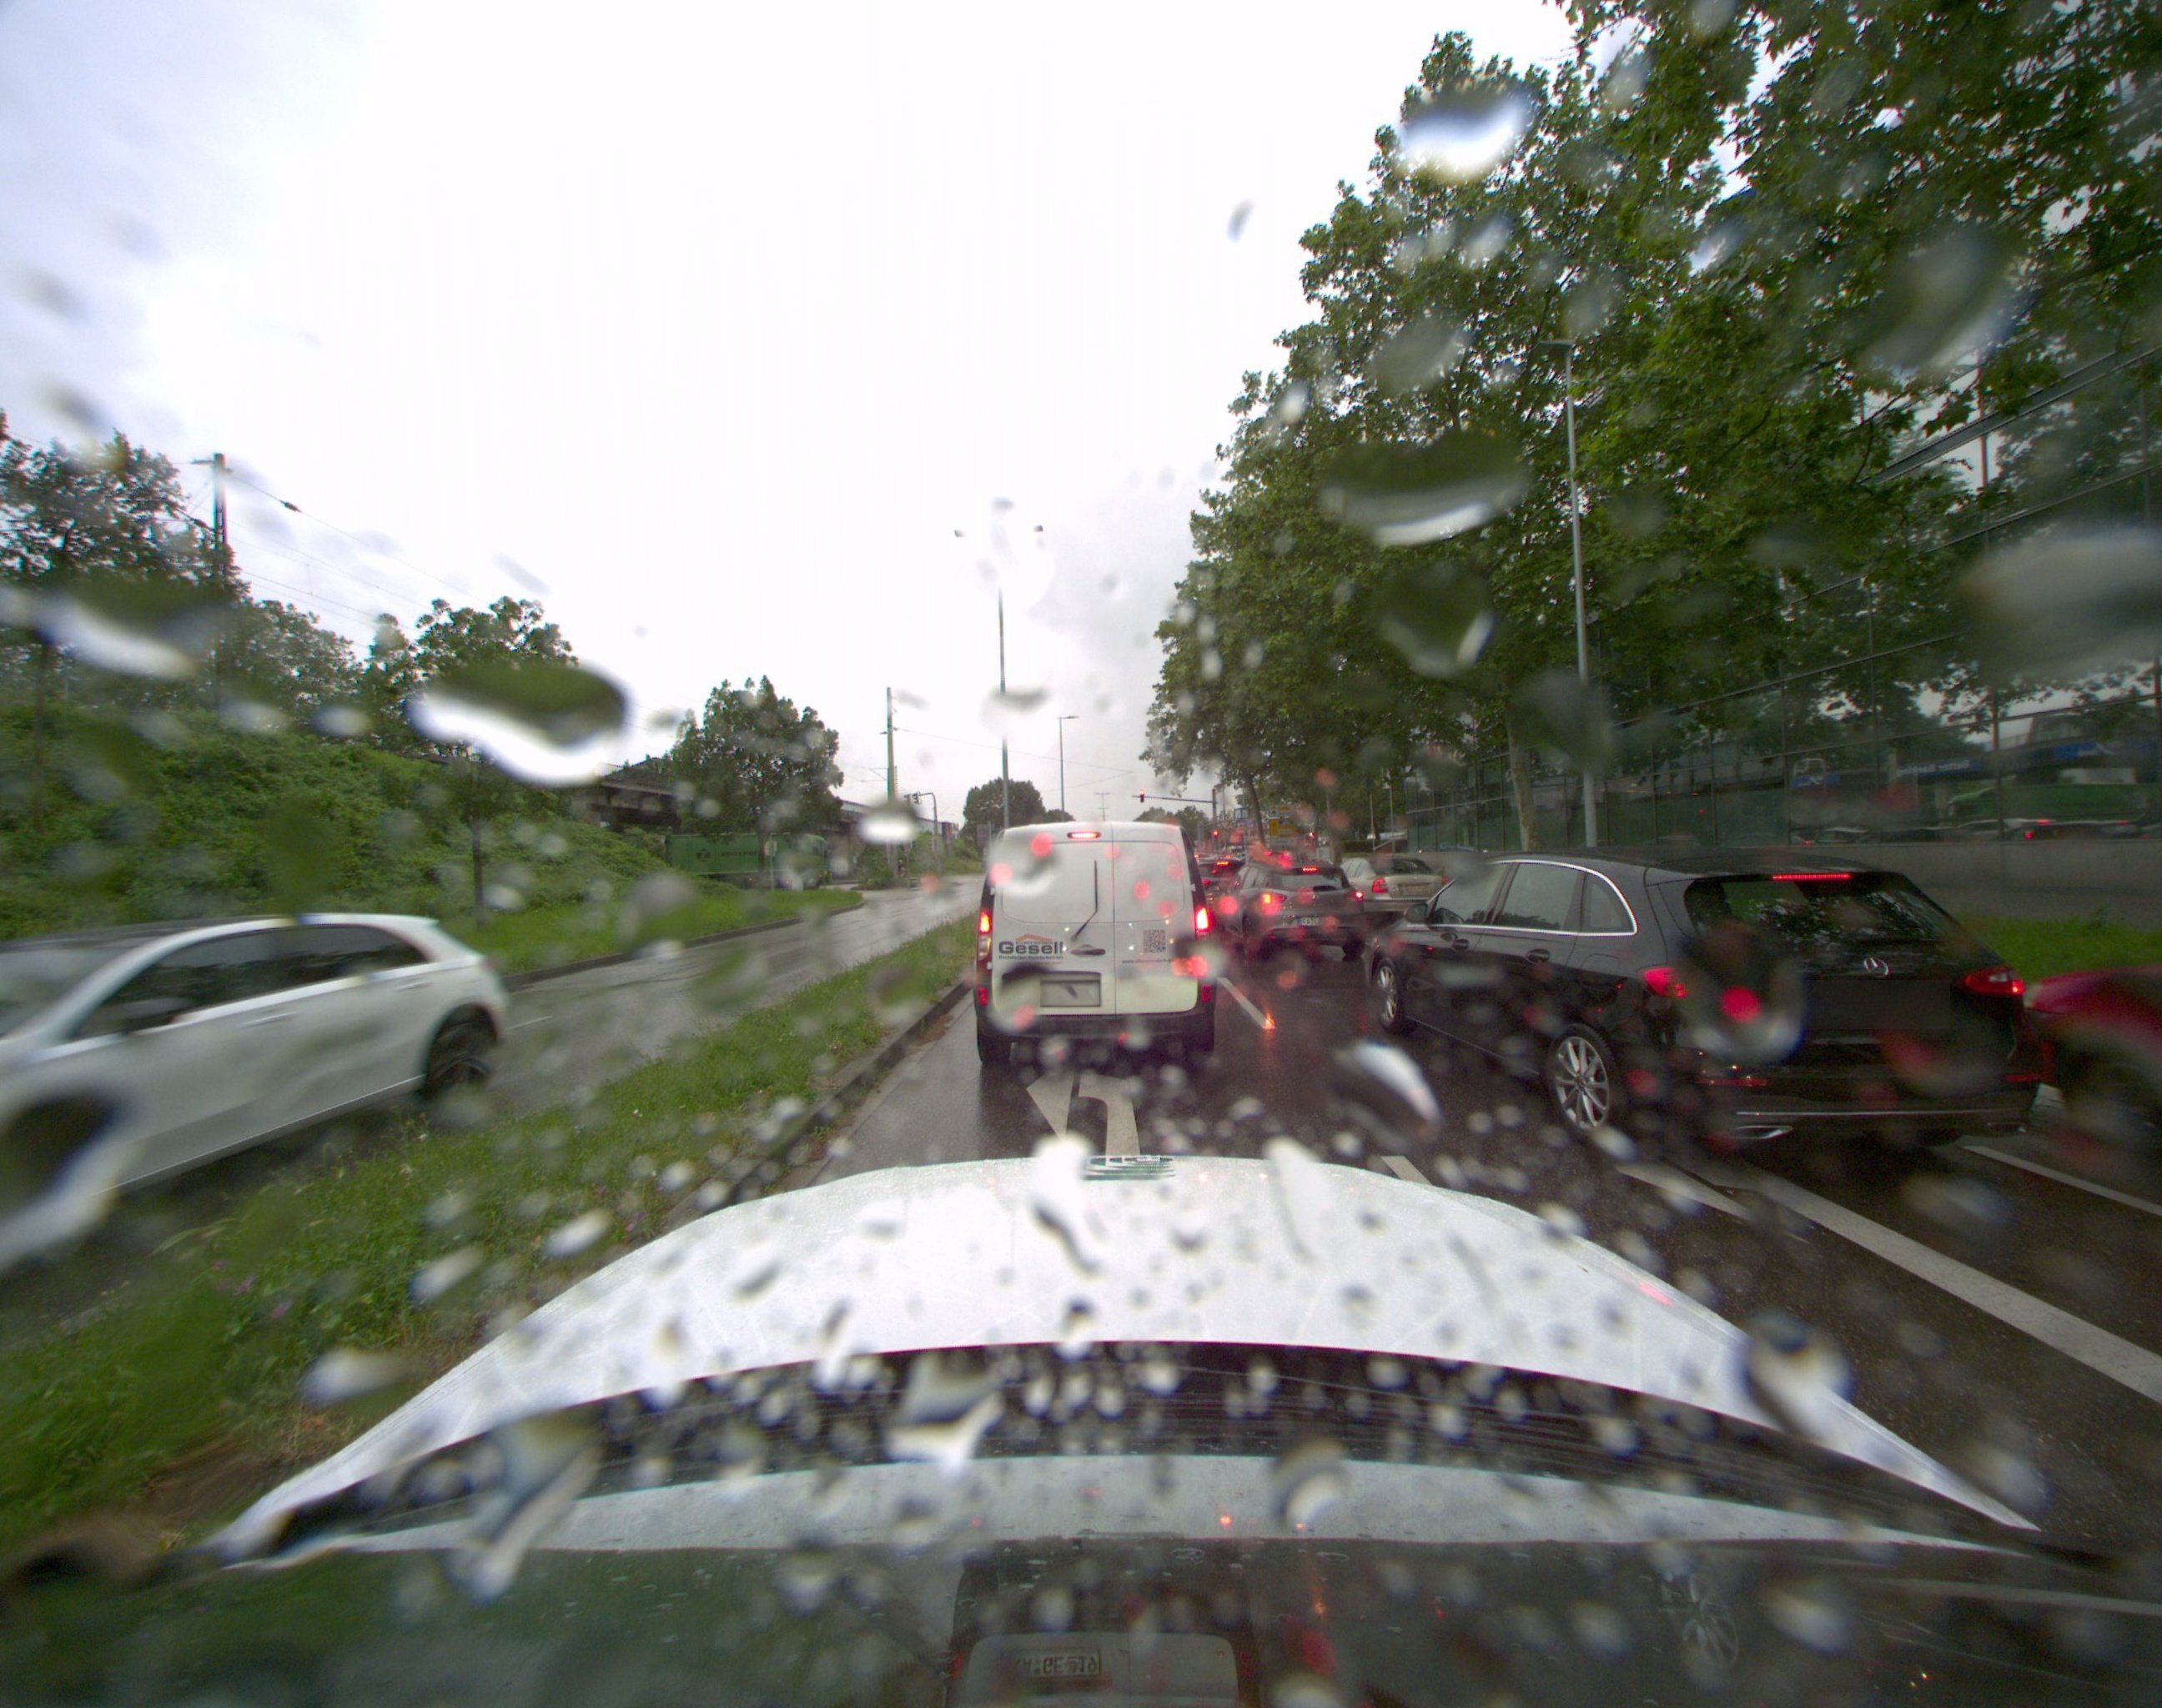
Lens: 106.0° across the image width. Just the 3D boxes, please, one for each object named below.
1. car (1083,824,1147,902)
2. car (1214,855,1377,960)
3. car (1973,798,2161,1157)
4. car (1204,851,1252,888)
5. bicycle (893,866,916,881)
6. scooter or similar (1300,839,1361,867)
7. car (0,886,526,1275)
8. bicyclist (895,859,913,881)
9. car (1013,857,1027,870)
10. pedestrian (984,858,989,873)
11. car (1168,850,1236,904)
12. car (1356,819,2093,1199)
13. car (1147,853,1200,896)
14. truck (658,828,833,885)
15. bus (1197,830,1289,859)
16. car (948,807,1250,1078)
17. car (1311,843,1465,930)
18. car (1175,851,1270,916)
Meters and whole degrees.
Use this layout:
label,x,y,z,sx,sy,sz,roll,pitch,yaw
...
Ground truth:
label,x,y,z,sx,sy,sz,roll,pitch,yaw
car,1.087,0.268,26.457,1.847,2.296,3.844,-1,0,2
car,3.263,0.738,13.122,1.677,1.408,3.844,0,0,1
car,5.909,0.557,2.503,1.704,1.694,4.273,0,-1,1
car,6.906,0.713,38.609,1.702,1.650,3.844,-1,-1,2
bicycle,-12.153,1.332,56.009,1.045,0.952,2.866,-2,0,-22
scooter or similar,23.454,-0.074,76.680,1.905,2.446,5.257,-1,0,-39
car,-5.323,1.049,4.390,1.728,1.519,4.048,-4,-1,1
bicyclist,-12.145,1.084,55.990,1.045,1.450,0.723,-2,0,-23
car,-7.961,1.187,106.762,1.463,1.559,3.508,-2,0,1
pedestrian,-11.236,1.368,96.609,0.541,1.716,0.563,0,-1,-2
car,4.060,0.729,27.897,1.847,1.649,3.844,-1,0,2
car,3.374,0.648,5.446,1.741,1.554,4.091,-1,0,1
car,3.755,0.815,33.571,1.847,1.650,3.844,-1,-1,2
truck,-21.329,0.057,52.320,10.105,3.371,2.322,-2,0,-35
bus,21.900,-1.345,110.586,11.926,3.423,2.316,-2,0,1
car,0.191,0.589,7.769,1.986,1.776,4.587,-1,0,2
car,6.338,0.596,17.310,1.869,1.613,4.002,0,0,2
car,3.481,0.670,20.678,1.847,1.460,3.844,-1,0,2
